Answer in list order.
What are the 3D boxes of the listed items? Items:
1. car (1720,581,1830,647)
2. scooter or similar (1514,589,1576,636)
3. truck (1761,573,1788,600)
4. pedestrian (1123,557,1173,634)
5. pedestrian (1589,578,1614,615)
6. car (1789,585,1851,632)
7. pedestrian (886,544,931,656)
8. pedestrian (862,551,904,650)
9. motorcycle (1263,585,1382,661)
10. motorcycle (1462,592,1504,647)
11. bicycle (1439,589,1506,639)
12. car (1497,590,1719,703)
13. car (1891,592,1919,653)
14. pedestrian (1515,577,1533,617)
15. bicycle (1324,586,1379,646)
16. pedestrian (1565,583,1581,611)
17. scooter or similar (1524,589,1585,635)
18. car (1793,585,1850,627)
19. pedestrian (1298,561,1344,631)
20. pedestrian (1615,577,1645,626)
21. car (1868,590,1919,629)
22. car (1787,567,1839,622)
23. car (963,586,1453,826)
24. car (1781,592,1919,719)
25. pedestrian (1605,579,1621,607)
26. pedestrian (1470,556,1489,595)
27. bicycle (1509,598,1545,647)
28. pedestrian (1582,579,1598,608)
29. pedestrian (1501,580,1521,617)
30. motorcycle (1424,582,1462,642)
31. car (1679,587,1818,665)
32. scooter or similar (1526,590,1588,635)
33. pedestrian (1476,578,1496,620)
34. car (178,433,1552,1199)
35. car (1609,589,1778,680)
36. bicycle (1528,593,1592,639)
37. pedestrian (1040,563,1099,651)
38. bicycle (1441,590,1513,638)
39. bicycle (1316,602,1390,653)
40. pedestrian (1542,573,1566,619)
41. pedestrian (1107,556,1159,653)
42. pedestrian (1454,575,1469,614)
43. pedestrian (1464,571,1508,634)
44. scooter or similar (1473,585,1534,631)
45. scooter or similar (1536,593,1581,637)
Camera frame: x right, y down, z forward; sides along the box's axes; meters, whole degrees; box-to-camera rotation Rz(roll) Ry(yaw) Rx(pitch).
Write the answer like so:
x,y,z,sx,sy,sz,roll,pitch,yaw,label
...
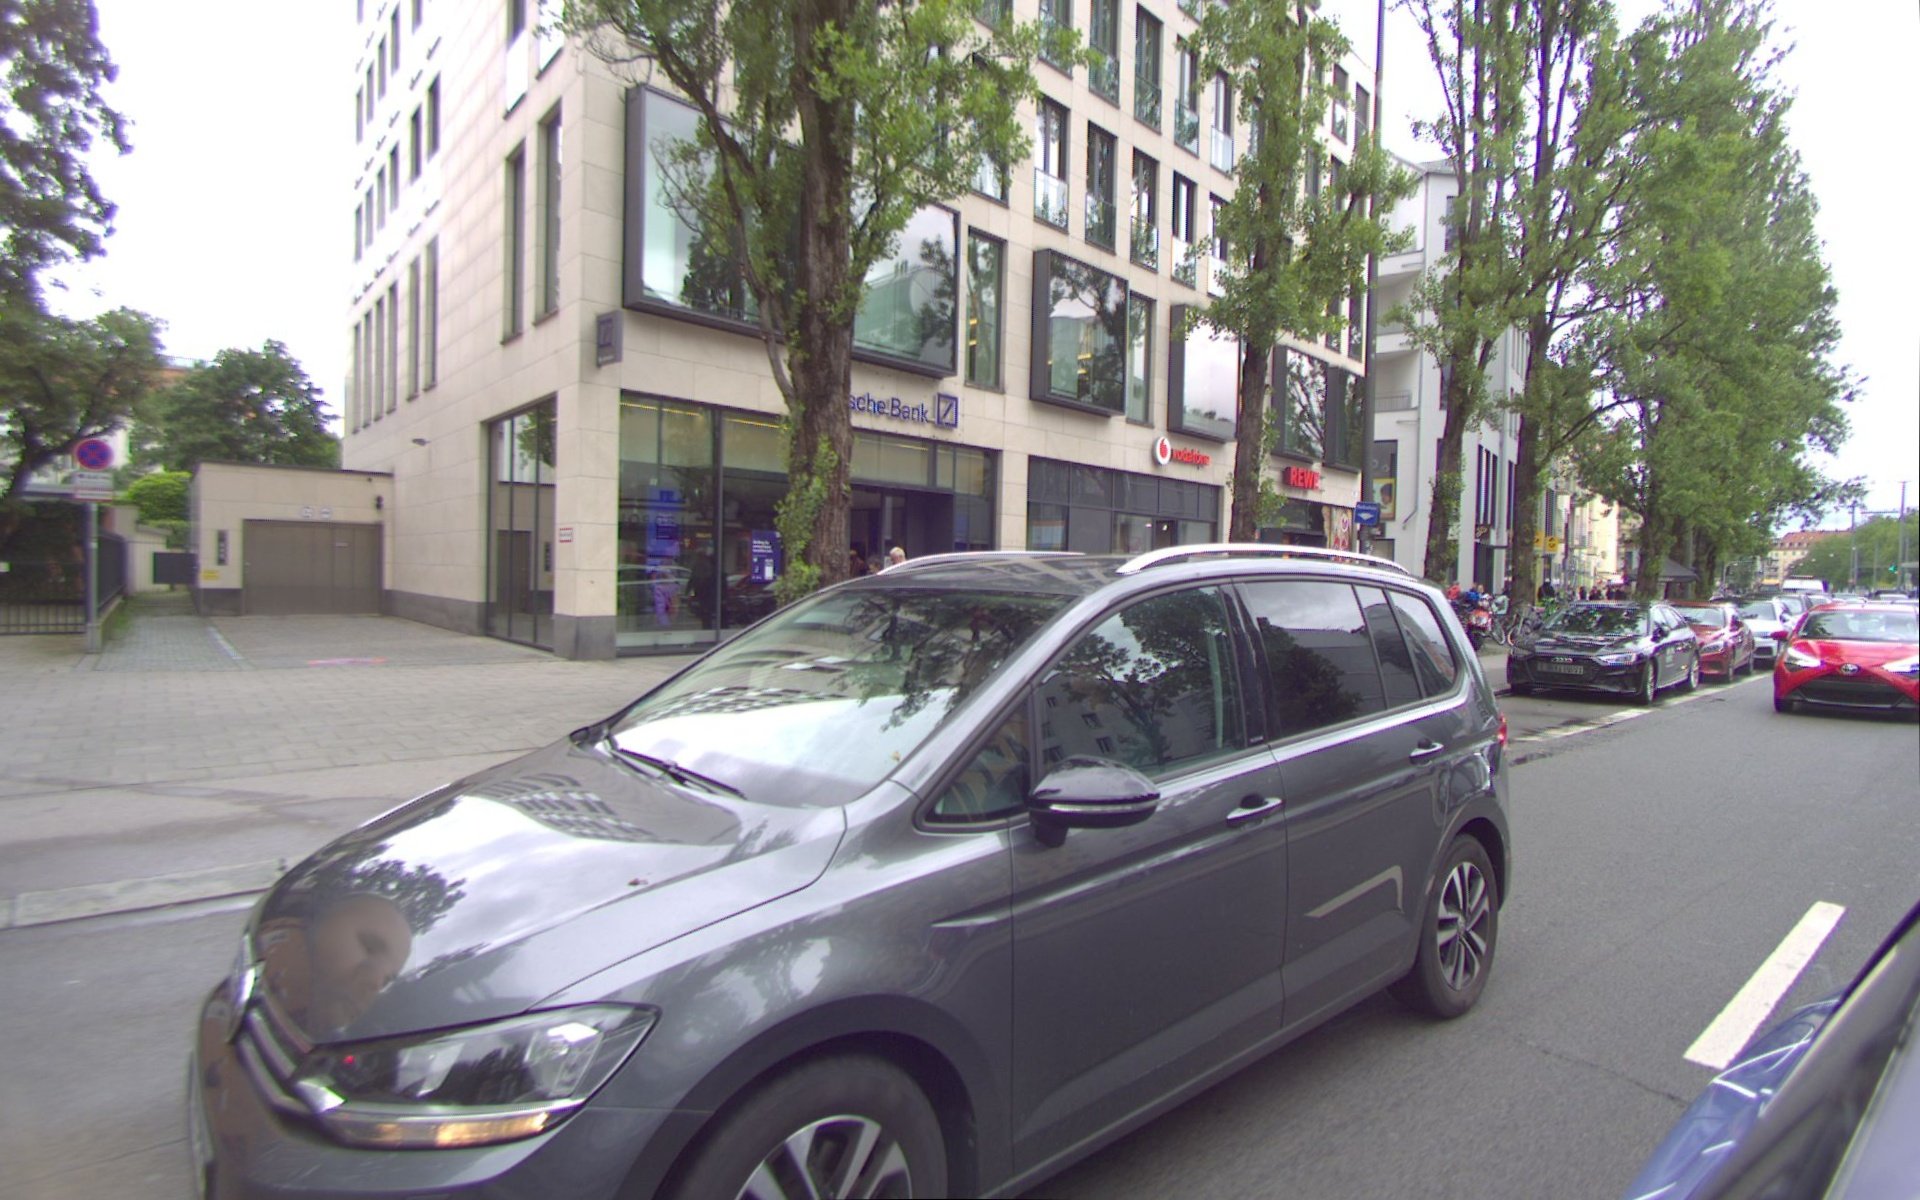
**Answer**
x,y,z,sx,sy,sz,roll,pitch,yaw,label
23.415,0.328,29.027,4.574,1.721,1.926,-1,2,-44,car
16.402,0.342,28.377,1.434,1.215,0.307,3,2,42,scooter or similar
113.956,-1.887,141.612,2.529,3.531,7.648,3,2,37,truck
4.147,-0.118,22.327,0.794,1.641,0.706,3,2,45,pedestrian
29.593,-0.159,46.678,0.799,1.657,1.008,3,2,41,pedestrian
33.427,0.301,39.348,1.725,1.707,4.343,1,1,41,car
-0.786,-0.010,15.280,0.546,1.658,0.553,1,1,-15,pedestrian
-1.207,0.001,15.774,0.536,1.509,0.505,1,1,-15,pedestrian
6.613,0.399,18.539,1.946,1.267,0.636,2,2,15,motorcycle
12.094,0.432,23.441,0.680,1.170,1.631,2,2,23,motorcycle
12.926,0.348,25.531,1.424,1.204,0.549,1,2,-11,bicycle
10.076,0.603,15.601,4.351,1.446,1.849,0,2,-43,car
25.128,0.547,25.969,1.736,1.488,3.986,2,1,44,car
24.076,-0.138,43.203,0.490,1.654,0.561,3,2,42,pedestrian
8.269,0.317,21.355,0.455,1.202,1.689,3,2,42,bicycle
36.586,-0.191,60.359,0.689,1.604,0.762,2,1,37,pedestrian
16.772,0.338,28.567,1.434,1.215,0.307,3,2,42,scooter or similar
40.091,0.233,47.078,1.928,1.827,4.707,1,1,42,car
10.051,-0.126,28.189,0.923,1.892,0.818,0,2,-43,pedestrian
24.162,0.049,36.486,0.713,1.696,0.772,4,2,42,pedestrian
45.593,0.417,49.072,1.989,1.771,3.947,1,1,37,car
45.689,-0.348,54.286,1.990,2.775,5.477,1,1,39,car
2.230,0.642,8.345,4.356,1.411,1.736,0,3,-42,car
12.458,0.655,13.747,3.538,1.464,1.666,-1,2,-45,car
38.058,-0.401,58.990,0.681,1.577,0.739,3,2,39,pedestrian
22.127,-1.029,43.106,0.497,1.644,0.550,0,1,-25,pedestrian
13.730,0.524,24.491,0.639,1.076,1.751,3,2,32,bicycle
36.921,-0.382,59.275,0.689,1.669,0.787,2,1,37,pedestrian
24.667,-0.085,45.299,0.557,1.595,0.674,2,1,15,pedestrian
11.620,0.263,24.392,0.680,1.373,1.631,2,2,23,motorcycle
18.049,0.516,23.086,4.726,1.519,1.812,0,3,-44,car
16.980,0.342,28.811,1.434,1.215,0.307,3,2,42,scooter or similar
20.489,-0.043,39.415,0.490,1.586,0.561,3,2,42,pedestrian
0.143,0.588,3.229,4.110,1.634,1.764,0,1,-41,car
14.143,0.562,19.402,1.931,1.468,4.727,3,2,44,car
17.287,0.452,29.162,1.478,1.222,0.527,3,2,43,bicycle
2.125,0.118,19.593,0.736,1.641,0.824,3,2,45,pedestrian
13.832,0.361,27.109,0.442,1.186,1.772,1,2,-26,bicycle
7.754,0.525,19.933,1.729,0.952,0.435,1,2,-35,bicycle
25.594,-0.171,43.570,0.646,1.948,0.912,4,2,42,pedestrian
3.312,0.072,19.417,0.668,1.794,0.798,1,1,-11,pedestrian
21.134,-0.241,42.685,0.543,1.644,0.503,0,1,25,pedestrian
14.260,0.058,27.442,0.600,1.639,0.796,1,2,-26,pedestrian
15.353,0.217,28.597,0.544,1.226,1.387,0,2,-42,scooter or similar
17.852,0.430,30.190,1.050,1.241,0.374,3,2,43,scooter or similar
